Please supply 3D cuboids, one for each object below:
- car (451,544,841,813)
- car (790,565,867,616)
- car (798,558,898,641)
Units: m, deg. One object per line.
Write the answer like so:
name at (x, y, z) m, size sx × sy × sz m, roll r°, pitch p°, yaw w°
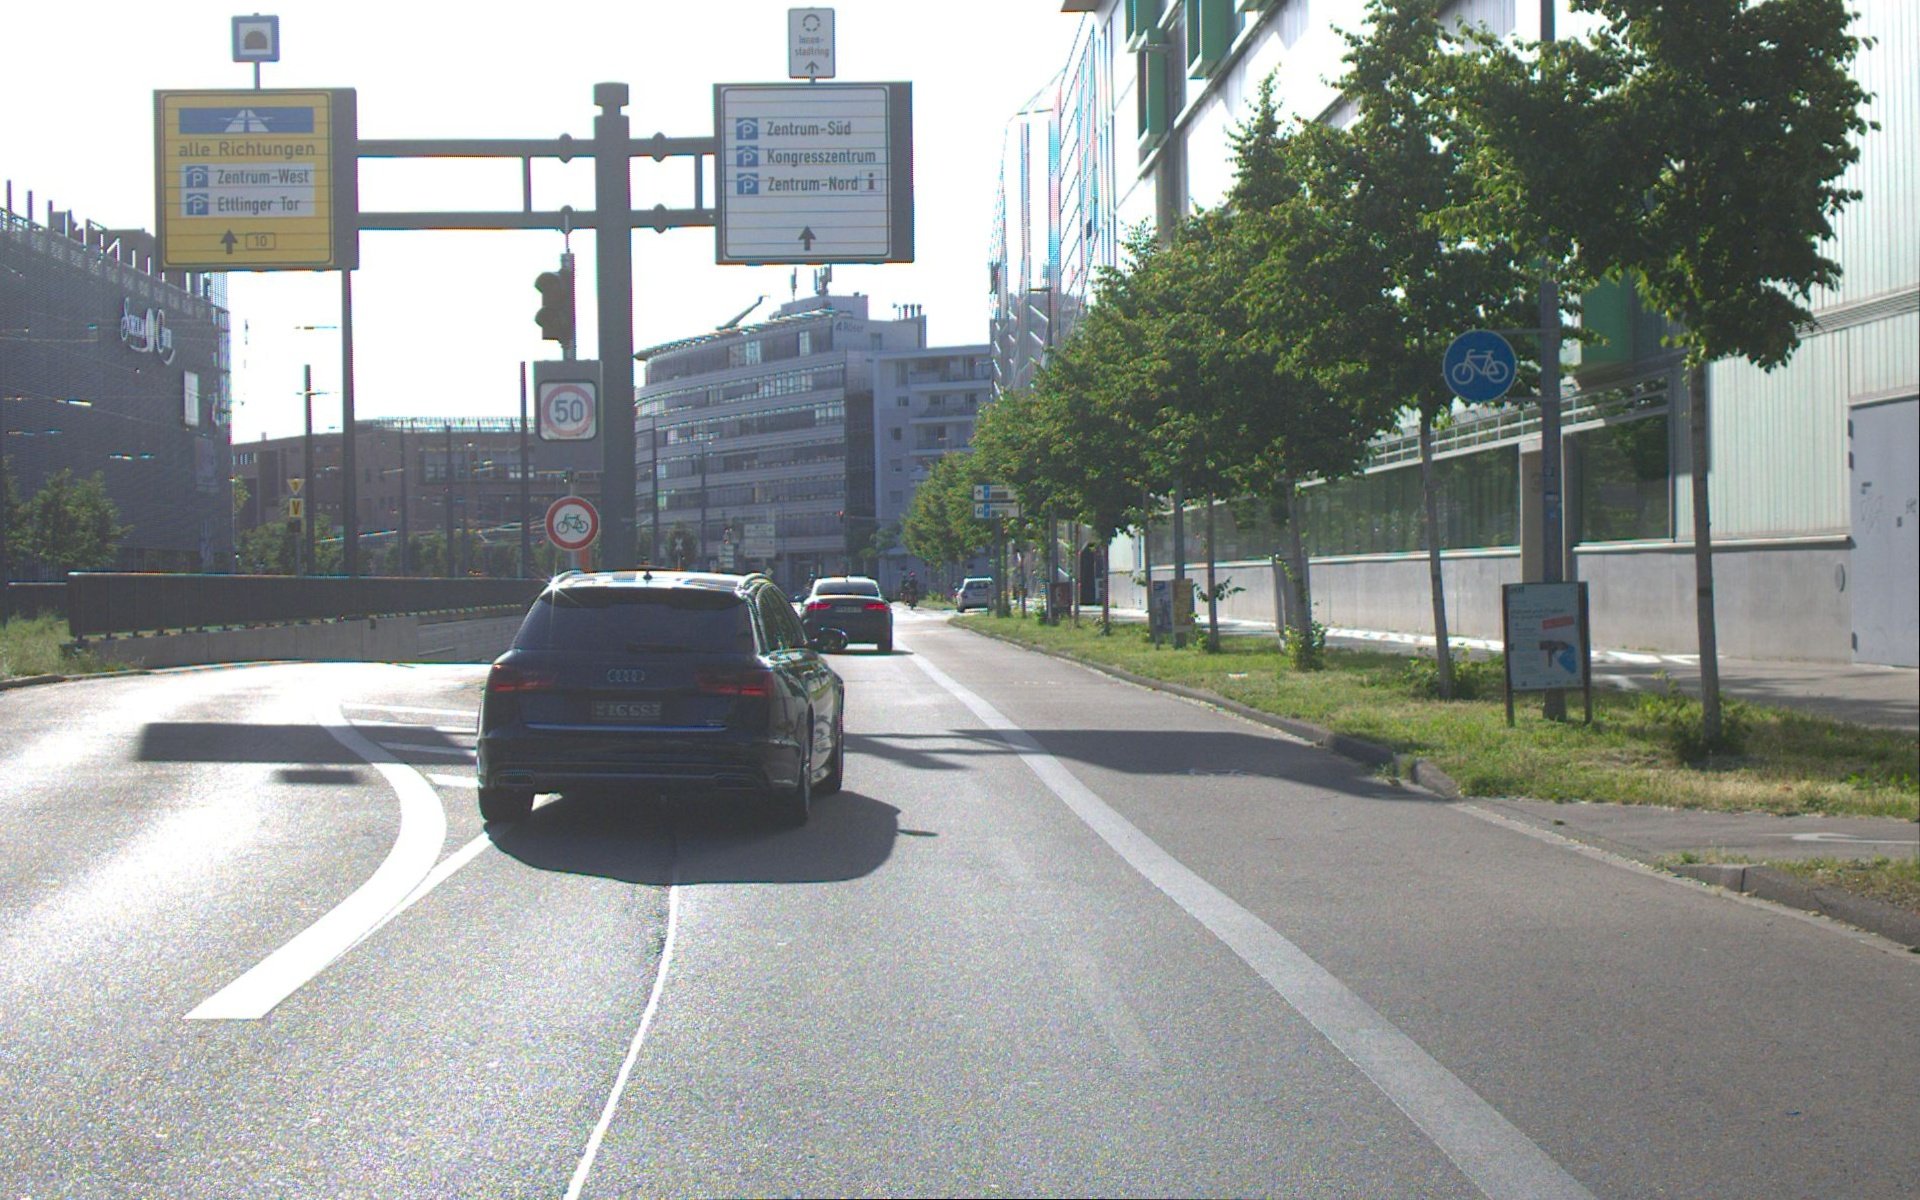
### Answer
car at (-1.762, 0.407, 20.739) m, size 1.812 × 1.422 × 4.689 m, roll -1°, pitch 0°, yaw 1°
car at (-4.007, -0.295, 103.993) m, size 1.993 × 1.460 × 4.001 m, roll 0°, pitch 1°, yaw -7°
car at (-2.160, -0.030, 66.502) m, size 1.852 × 1.541 × 4.000 m, roll 1°, pitch 1°, yaw -2°
